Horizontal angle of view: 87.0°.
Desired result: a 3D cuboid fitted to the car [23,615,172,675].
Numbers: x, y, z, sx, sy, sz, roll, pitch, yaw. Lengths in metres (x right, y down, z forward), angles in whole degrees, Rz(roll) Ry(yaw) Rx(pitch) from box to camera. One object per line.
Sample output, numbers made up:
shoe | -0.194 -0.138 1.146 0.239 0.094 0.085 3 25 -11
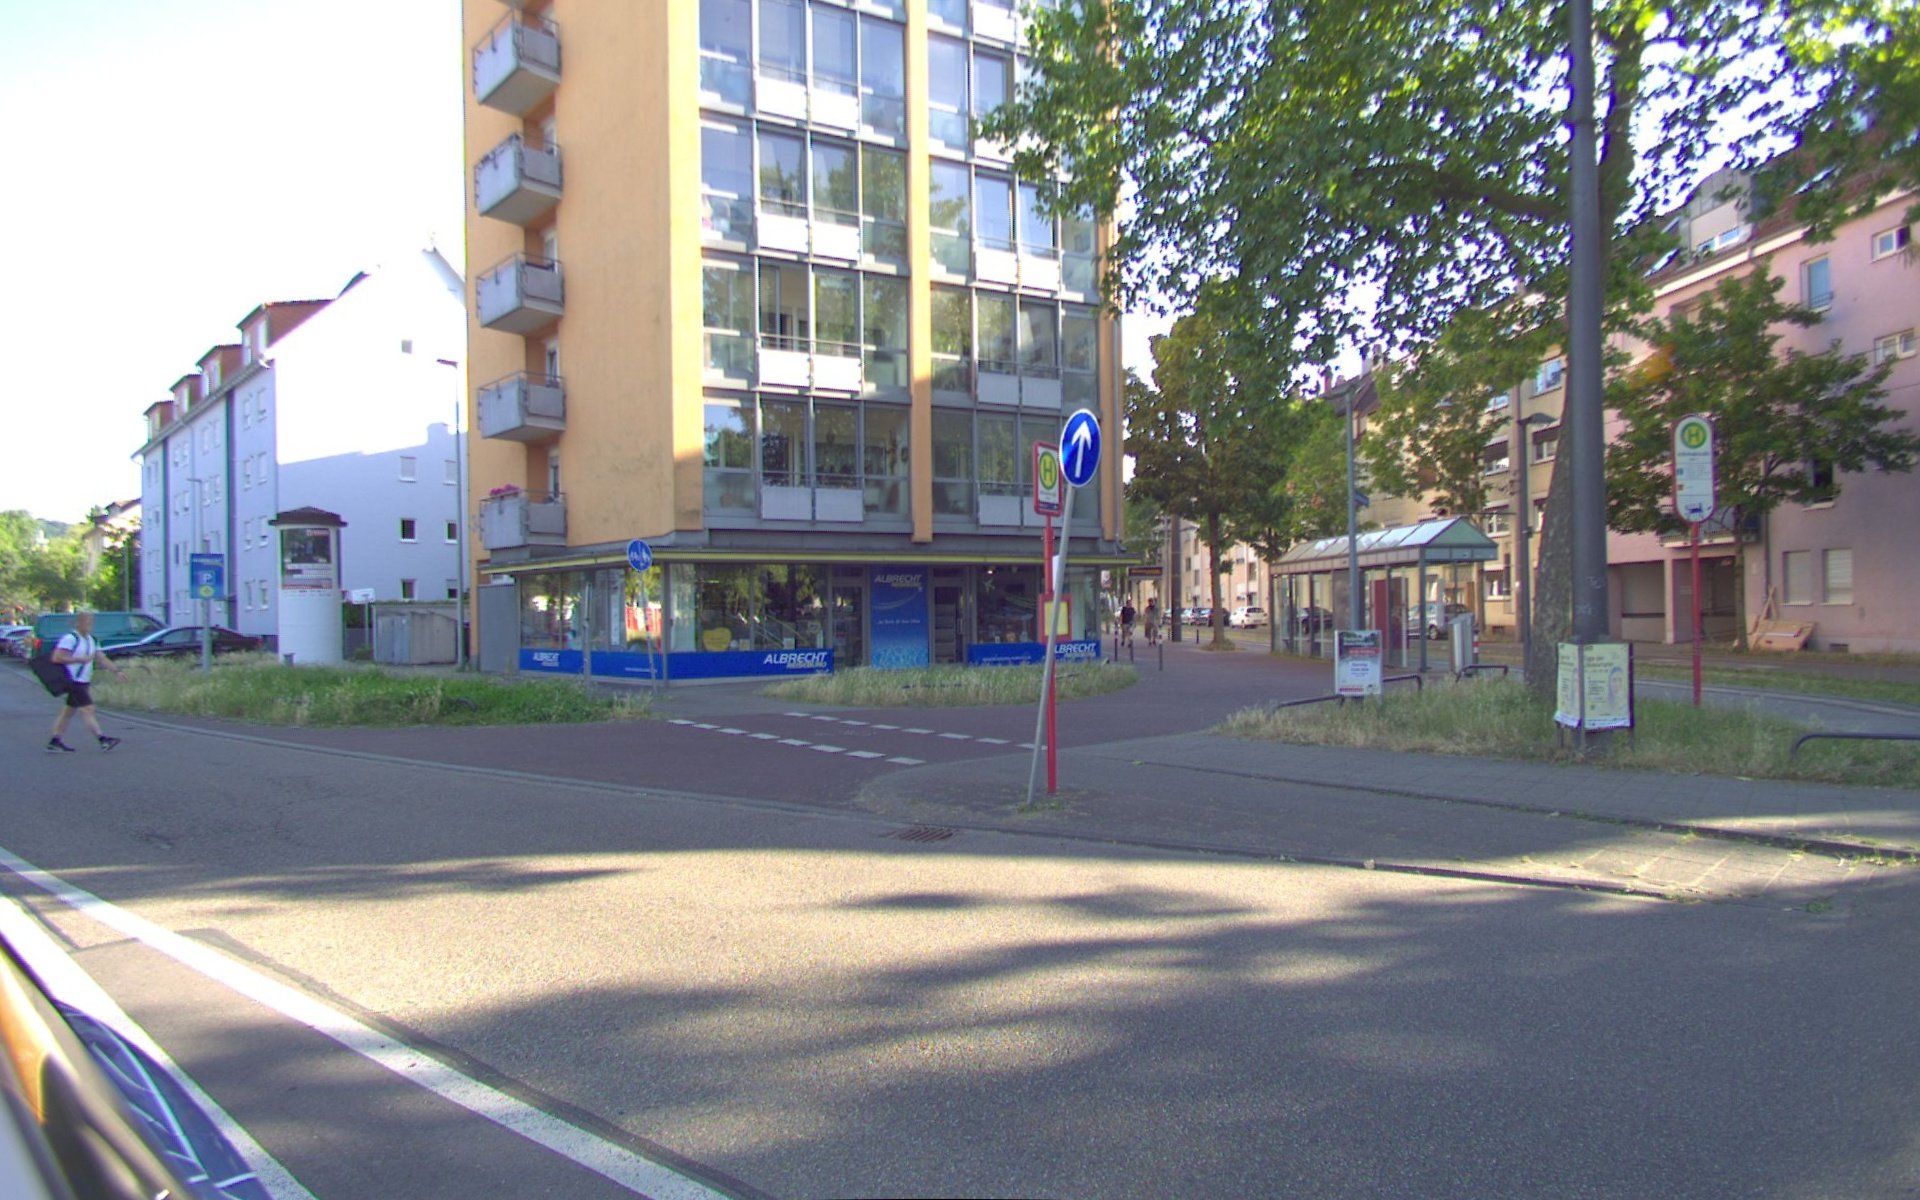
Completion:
car | -31.217 1.563 36.694 2.001 1.962 3.942 -1 0 44

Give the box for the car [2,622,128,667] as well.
car | -38.829 1.871 43.936 4.016 1.765 1.900 -1 0 -44

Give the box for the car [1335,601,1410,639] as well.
car | 19.904 0.920 48.990 1.911 1.719 3.827 -1 0 -3

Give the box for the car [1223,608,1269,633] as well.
car | 19.171 1.348 68.055 1.741 1.588 4.049 -1 0 -3

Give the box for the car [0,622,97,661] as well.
car | -46.119 2.045 50.873 4.061 1.785 1.758 -1 0 -44

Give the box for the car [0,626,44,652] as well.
car | -63.496 2.612 67.001 4.199 1.585 1.867 -1 0 -44

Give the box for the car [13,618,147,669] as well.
car | -35.122 1.680 40.440 3.941 1.829 2.001 -1 0 -44

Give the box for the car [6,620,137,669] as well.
car | -36.860 1.814 42.018 4.003 1.829 1.938 -1 0 -44

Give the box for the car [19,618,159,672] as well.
car | -33.122 1.654 38.537 3.941 1.829 2.001 -1 0 -44

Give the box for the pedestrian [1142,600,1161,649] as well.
pedestrian | 6.986 0.877 36.916 0.622 1.763 0.689 -1 0 6

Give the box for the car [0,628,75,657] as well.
car | -55.660 2.510 60.389 4.199 1.585 1.867 -1 0 -44

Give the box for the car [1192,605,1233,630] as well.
car | 18.704 1.269 75.160 1.808 1.719 4.059 -1 0 -3

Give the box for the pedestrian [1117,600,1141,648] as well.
pedestrian | 6.215 0.887 37.286 0.803 1.763 0.538 -1 0 6

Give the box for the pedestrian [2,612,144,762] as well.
pedestrian | -10.913 1.029 12.471 1.080 1.750 0.897 -1 0 19

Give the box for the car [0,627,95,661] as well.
car | -48.121 2.282 52.964 4.199 1.585 1.867 -1 0 -44

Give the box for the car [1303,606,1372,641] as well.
car | 19.915 1.204 53.603 1.911 1.719 4.115 -1 0 -3

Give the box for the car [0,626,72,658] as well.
car | -55.793 2.480 60.442 4.016 1.765 1.900 -1 0 -44

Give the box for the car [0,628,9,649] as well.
car | -74.759 2.997 76.971 3.490 1.585 1.867 -1 0 -44

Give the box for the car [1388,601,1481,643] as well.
car | 20.744 0.910 44.435 1.911 1.719 4.115 -1 0 -3

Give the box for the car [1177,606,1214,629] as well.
car | 18.643 1.354 80.350 1.771 1.719 4.170 -1 0 -3

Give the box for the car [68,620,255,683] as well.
car | -24.275 1.514 30.871 4.361 1.674 2.003 -1 0 -41

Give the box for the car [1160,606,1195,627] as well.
car | 18.431 1.396 85.804 1.830 1.719 4.170 -1 0 -3
